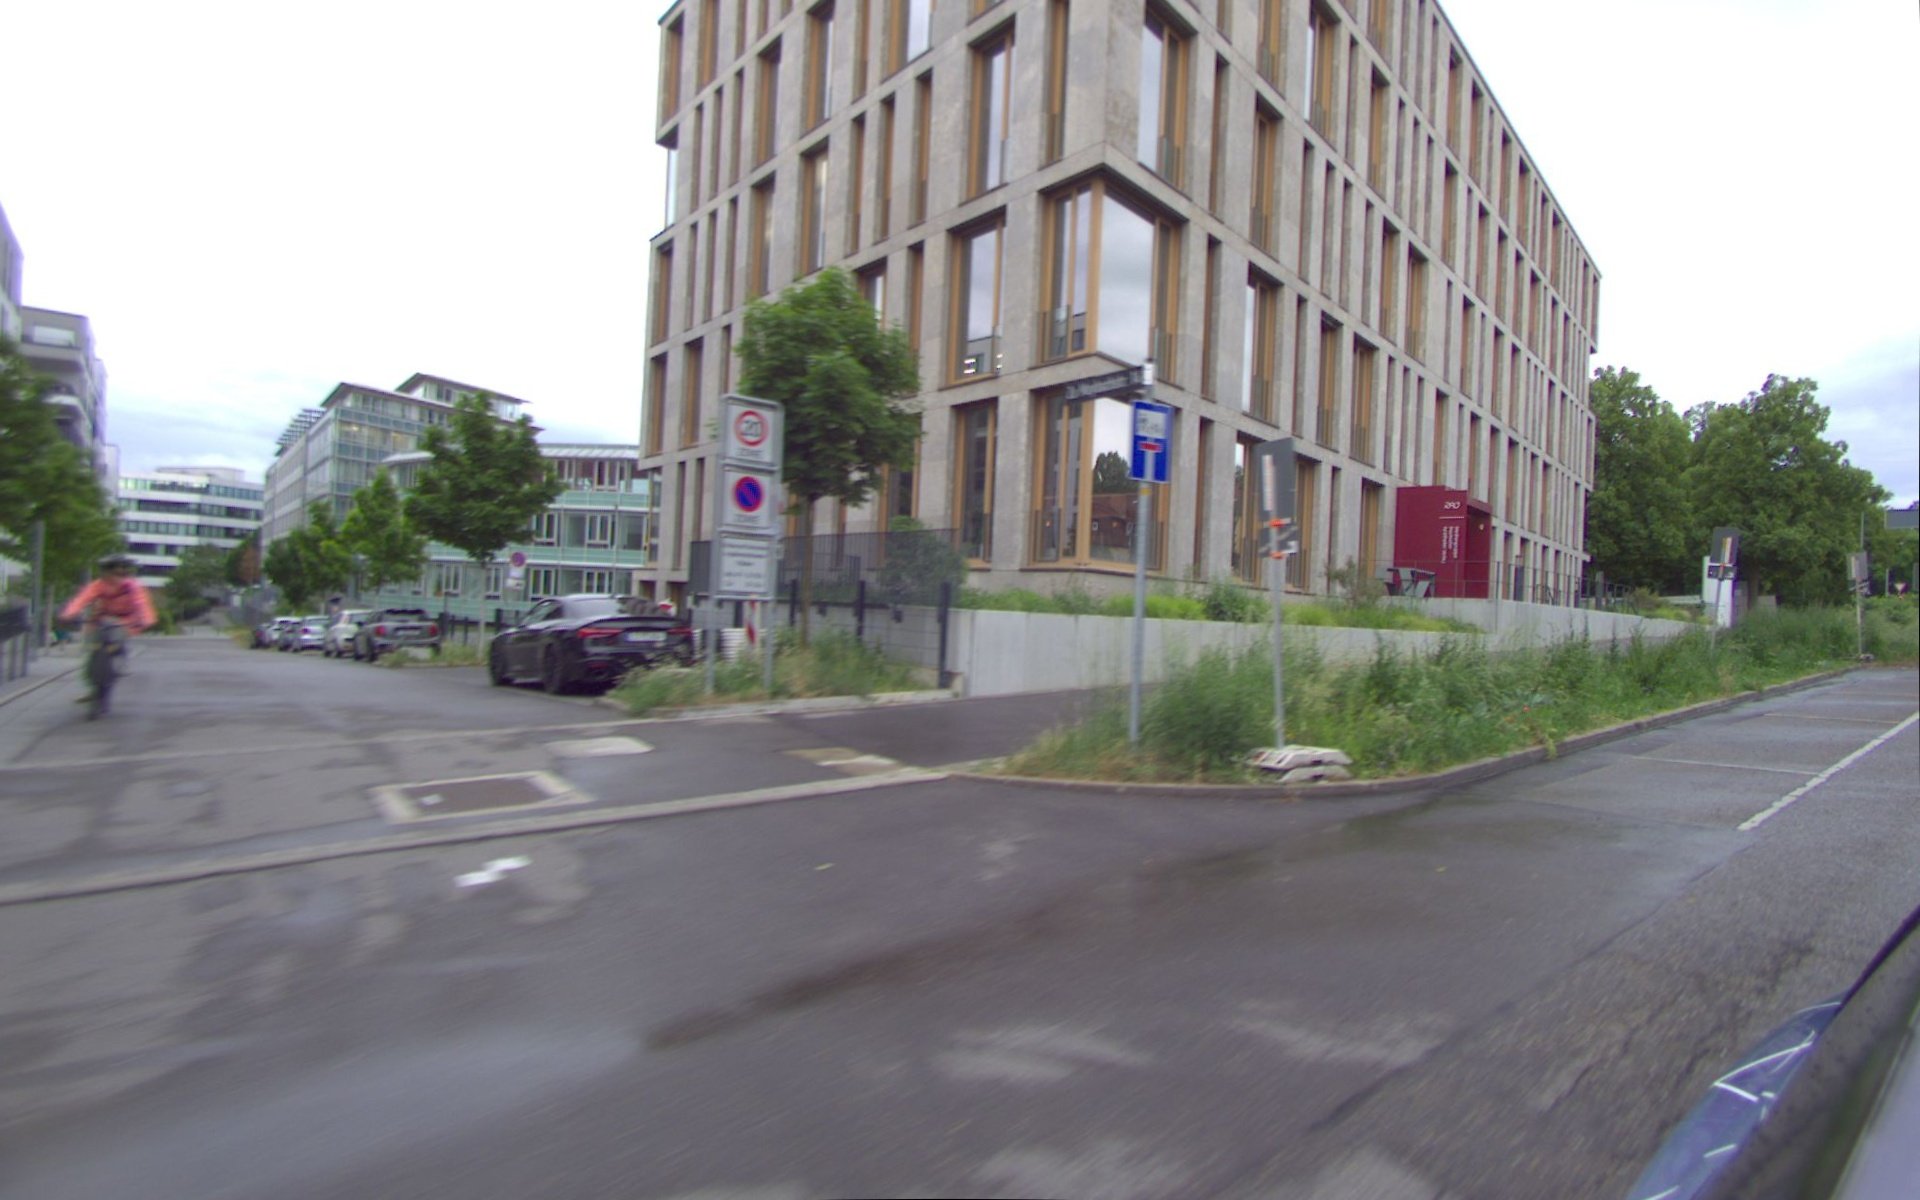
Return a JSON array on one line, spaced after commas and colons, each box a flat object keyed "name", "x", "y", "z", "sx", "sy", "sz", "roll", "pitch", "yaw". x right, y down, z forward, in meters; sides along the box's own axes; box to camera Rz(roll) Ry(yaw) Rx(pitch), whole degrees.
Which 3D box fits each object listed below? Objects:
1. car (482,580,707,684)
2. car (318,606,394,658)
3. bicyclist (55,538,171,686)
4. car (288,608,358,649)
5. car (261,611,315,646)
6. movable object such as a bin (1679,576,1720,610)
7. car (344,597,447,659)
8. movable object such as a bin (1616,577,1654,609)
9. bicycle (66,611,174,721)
[{"name": "car", "x": -5.382, "y": 0.418, "z": 14.561, "sx": 1.699, "sy": 1.260, "sz": 4.237, "roll": -1, "pitch": 0, "yaw": -40}, {"name": "car", "x": -19.019, "y": 0.959, "z": 31.831, "sx": 1.590, "sy": 1.523, "sz": 3.616, "roll": 0, "pitch": 0, "yaw": -39}, {"name": "bicyclist", "x": -9.258, "y": 0.128, "z": 11.059, "sx": 1.072, "sy": 1.522, "sz": 0.827, "roll": -2, "pitch": -1, "yaw": 42}, {"name": "car", "x": -25.310, "y": 1.087, "z": 40.169, "sx": 1.910, "sy": 1.505, "sz": 3.996, "roll": 0, "pitch": 0, "yaw": -39}, {"name": "car", "x": -34.608, "y": 1.447, "z": 52.085, "sx": 1.964, "sy": 1.661, "sz": 3.996, "roll": 0, "pitch": 0, "yaw": -39}, {"name": "movable object such as a bin", "x": 34.658, "y": -0.341, "z": 47.437, "sx": 1.091, "sy": 1.477, "sz": 1.249, "roll": -2, "pitch": -2, "yaw": -39}, {"name": "car", "x": -15.258, "y": 0.685, "z": 27.285, "sx": 1.825, "sy": 1.552, "sz": 3.840, "roll": 0, "pitch": 0, "yaw": -39}, {"name": "movable object such as a bin", "x": 32.899, "y": -0.362, "z": 49.337, "sx": 1.363, "sy": 1.523, "sz": 1.198, "roll": -1, "pitch": 0, "yaw": -41}, {"name": "bicycle", "x": -9.164, "y": 0.658, "z": 11.001, "sx": 2.474, "sy": 1.033, "sz": 0.616, "roll": 0, "pitch": 1, "yaw": 44}]
